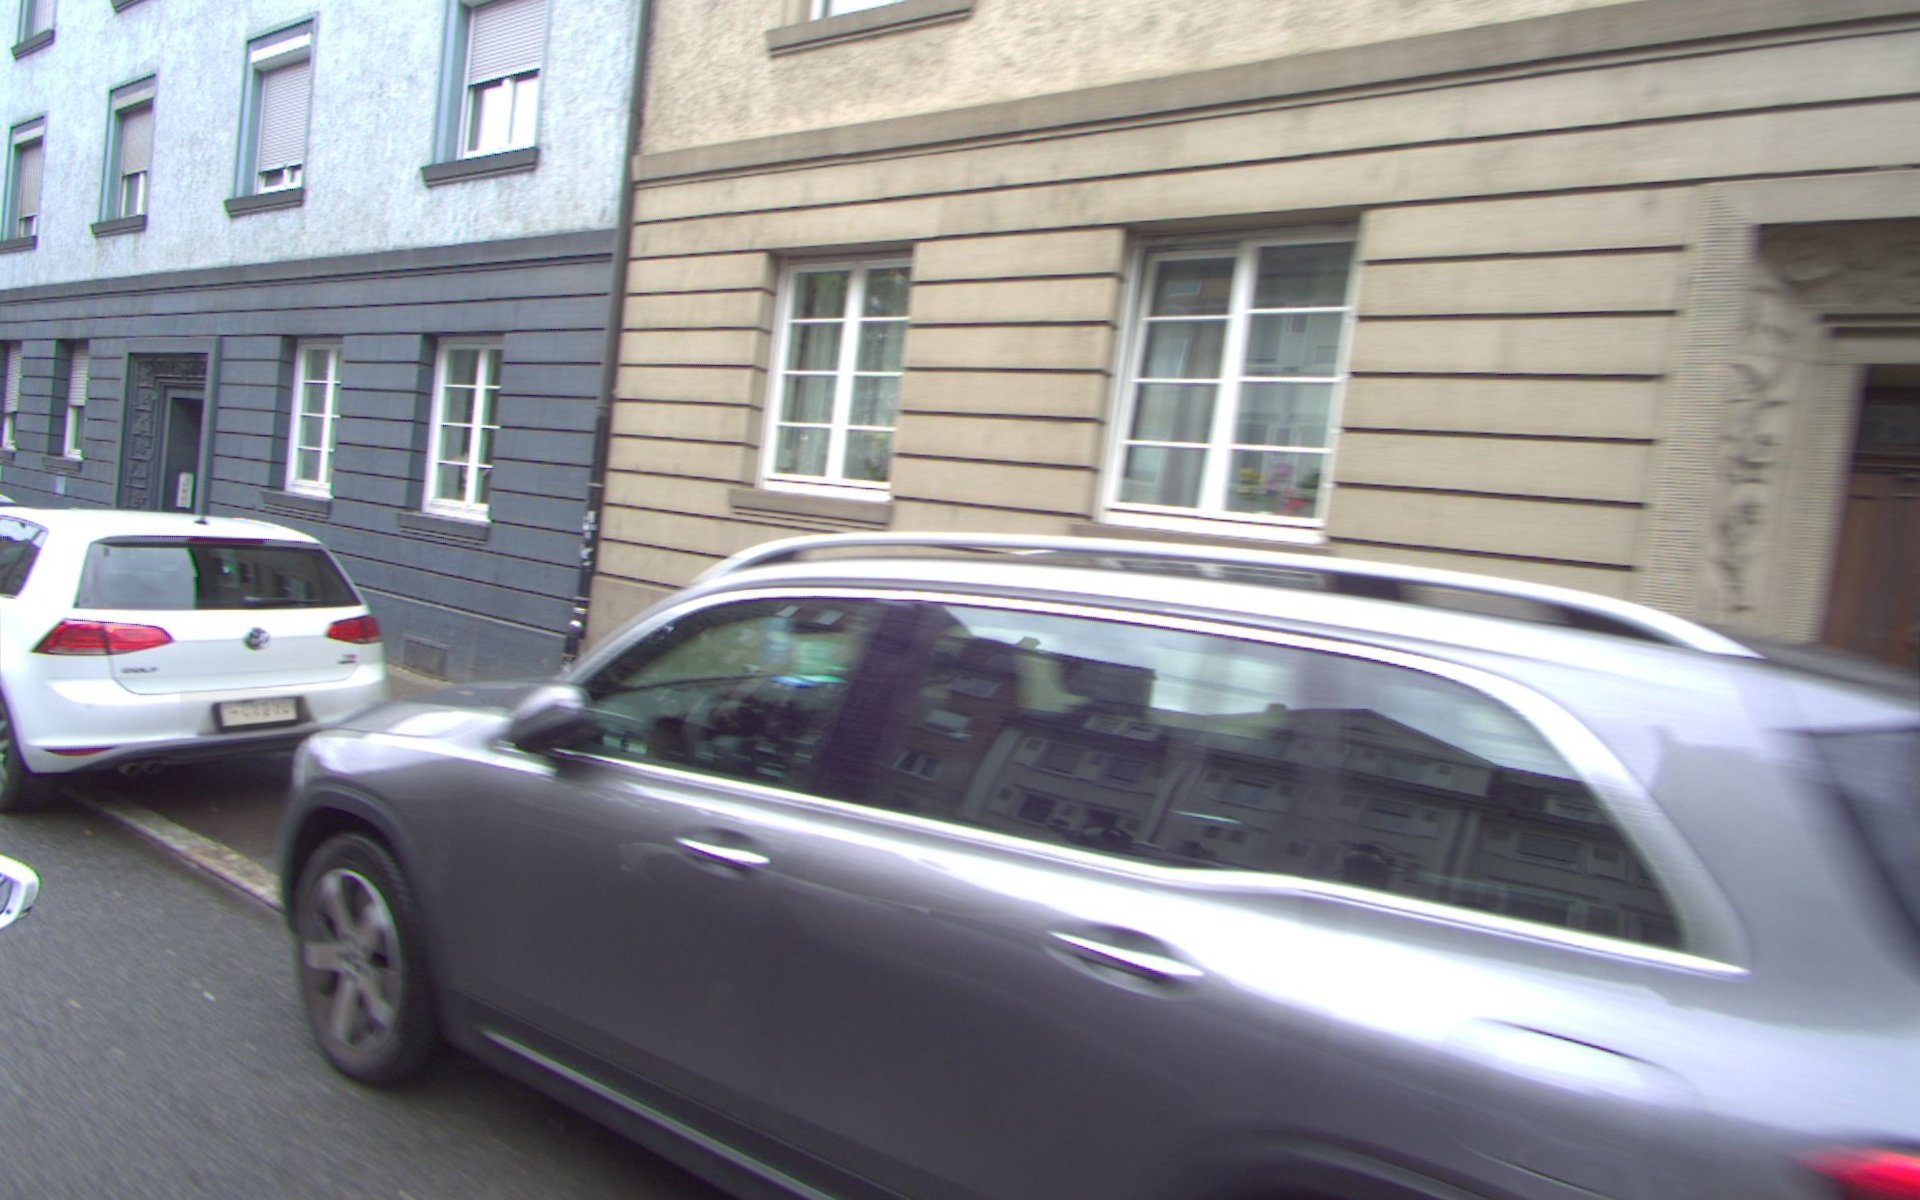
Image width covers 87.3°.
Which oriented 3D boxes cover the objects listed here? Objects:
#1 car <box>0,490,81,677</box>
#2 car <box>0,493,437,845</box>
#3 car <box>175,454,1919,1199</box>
[{"bbox_3d":[-9.226,-0.288,8.606,3.535,1.449,1.582,7,4,31],"label":"car"},{"bbox_3d":[-5.159,0.161,6.105,3.907,1.449,1.728,7,4,31],"label":"car"},{"bbox_3d":[-0.233,0.571,2.945,4.137,1.642,1.841,6,2,31],"label":"car"}]
